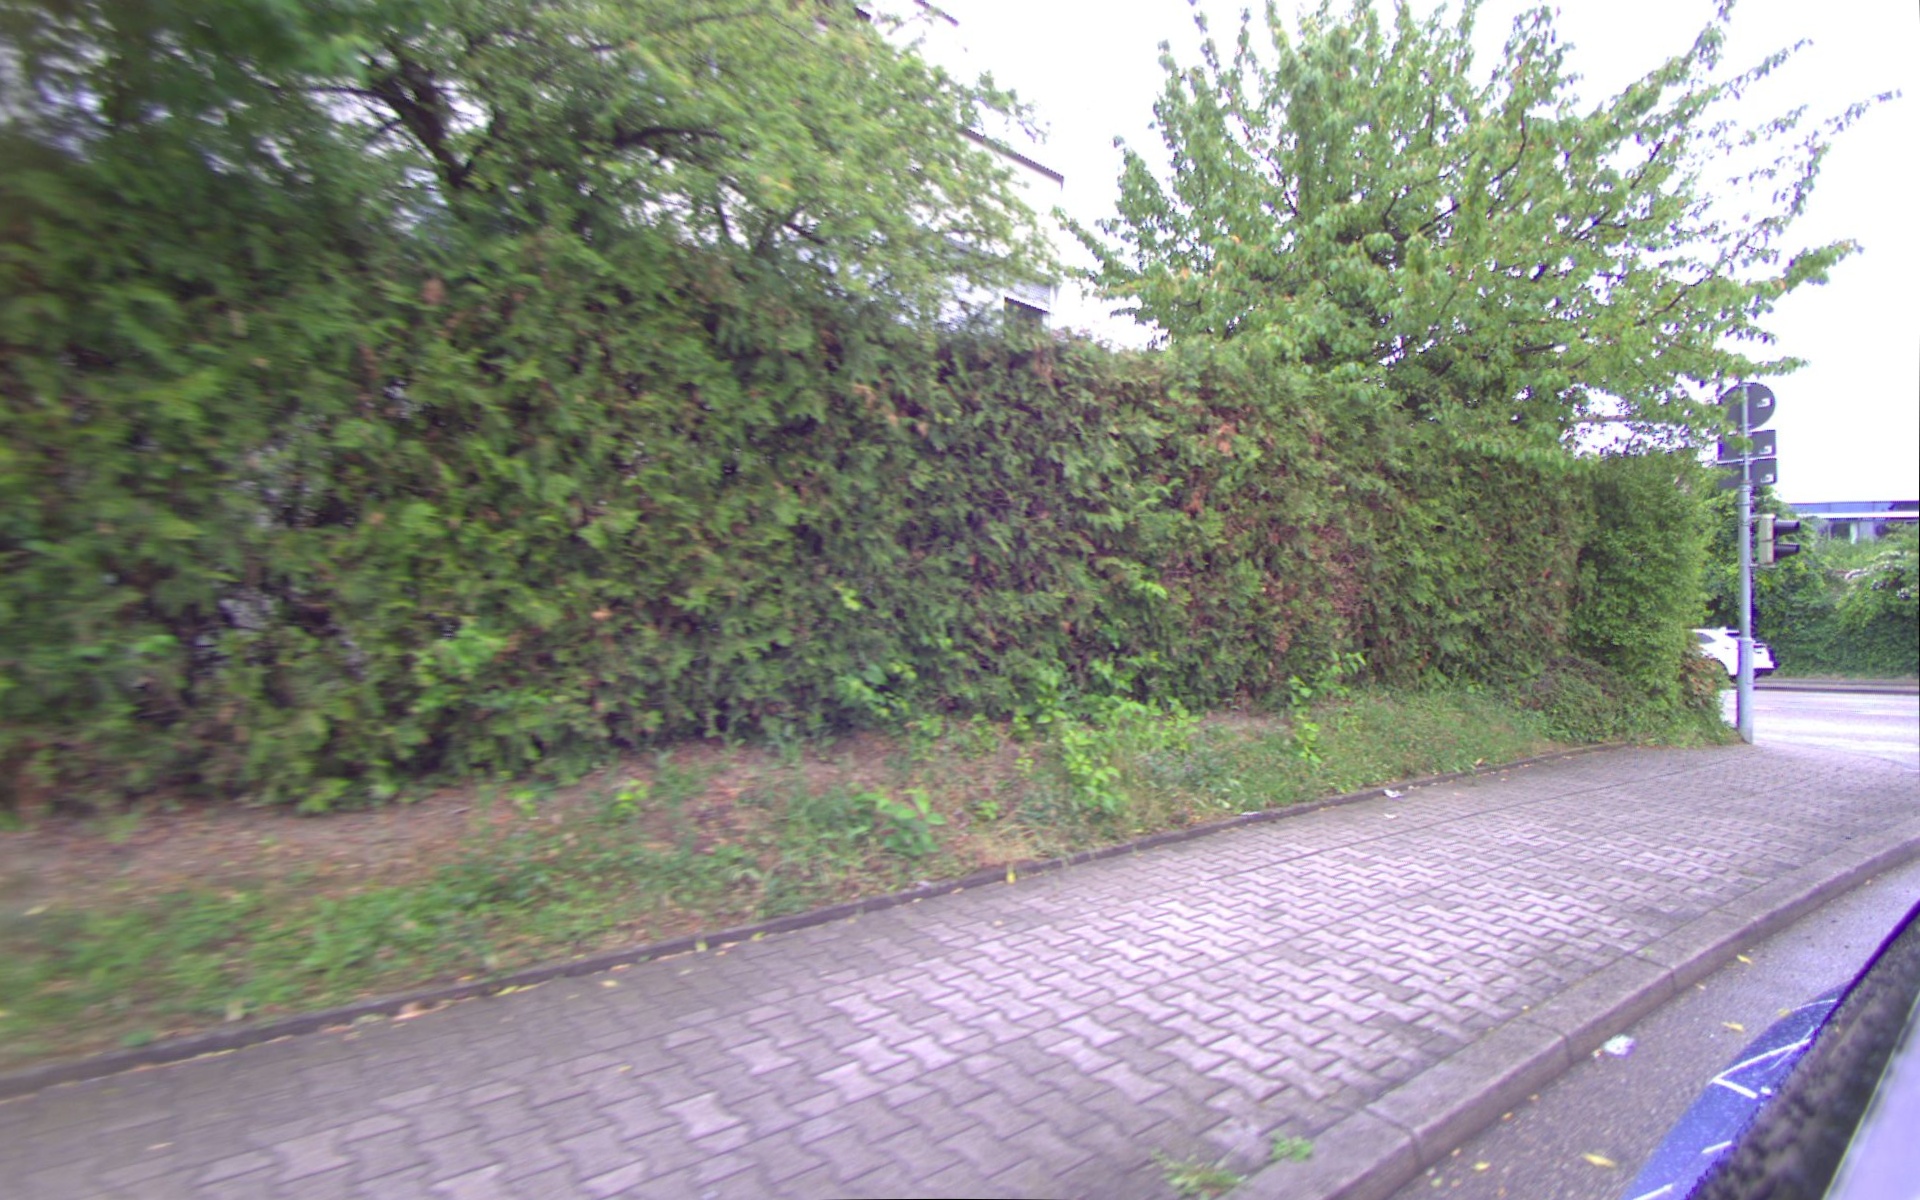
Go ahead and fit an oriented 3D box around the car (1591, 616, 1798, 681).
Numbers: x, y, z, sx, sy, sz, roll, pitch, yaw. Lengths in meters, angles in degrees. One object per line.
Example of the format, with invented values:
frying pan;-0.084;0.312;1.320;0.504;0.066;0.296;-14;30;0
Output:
car;22.327;1.500;30.975;1.960;1.814;4.680;1;-4;-30
